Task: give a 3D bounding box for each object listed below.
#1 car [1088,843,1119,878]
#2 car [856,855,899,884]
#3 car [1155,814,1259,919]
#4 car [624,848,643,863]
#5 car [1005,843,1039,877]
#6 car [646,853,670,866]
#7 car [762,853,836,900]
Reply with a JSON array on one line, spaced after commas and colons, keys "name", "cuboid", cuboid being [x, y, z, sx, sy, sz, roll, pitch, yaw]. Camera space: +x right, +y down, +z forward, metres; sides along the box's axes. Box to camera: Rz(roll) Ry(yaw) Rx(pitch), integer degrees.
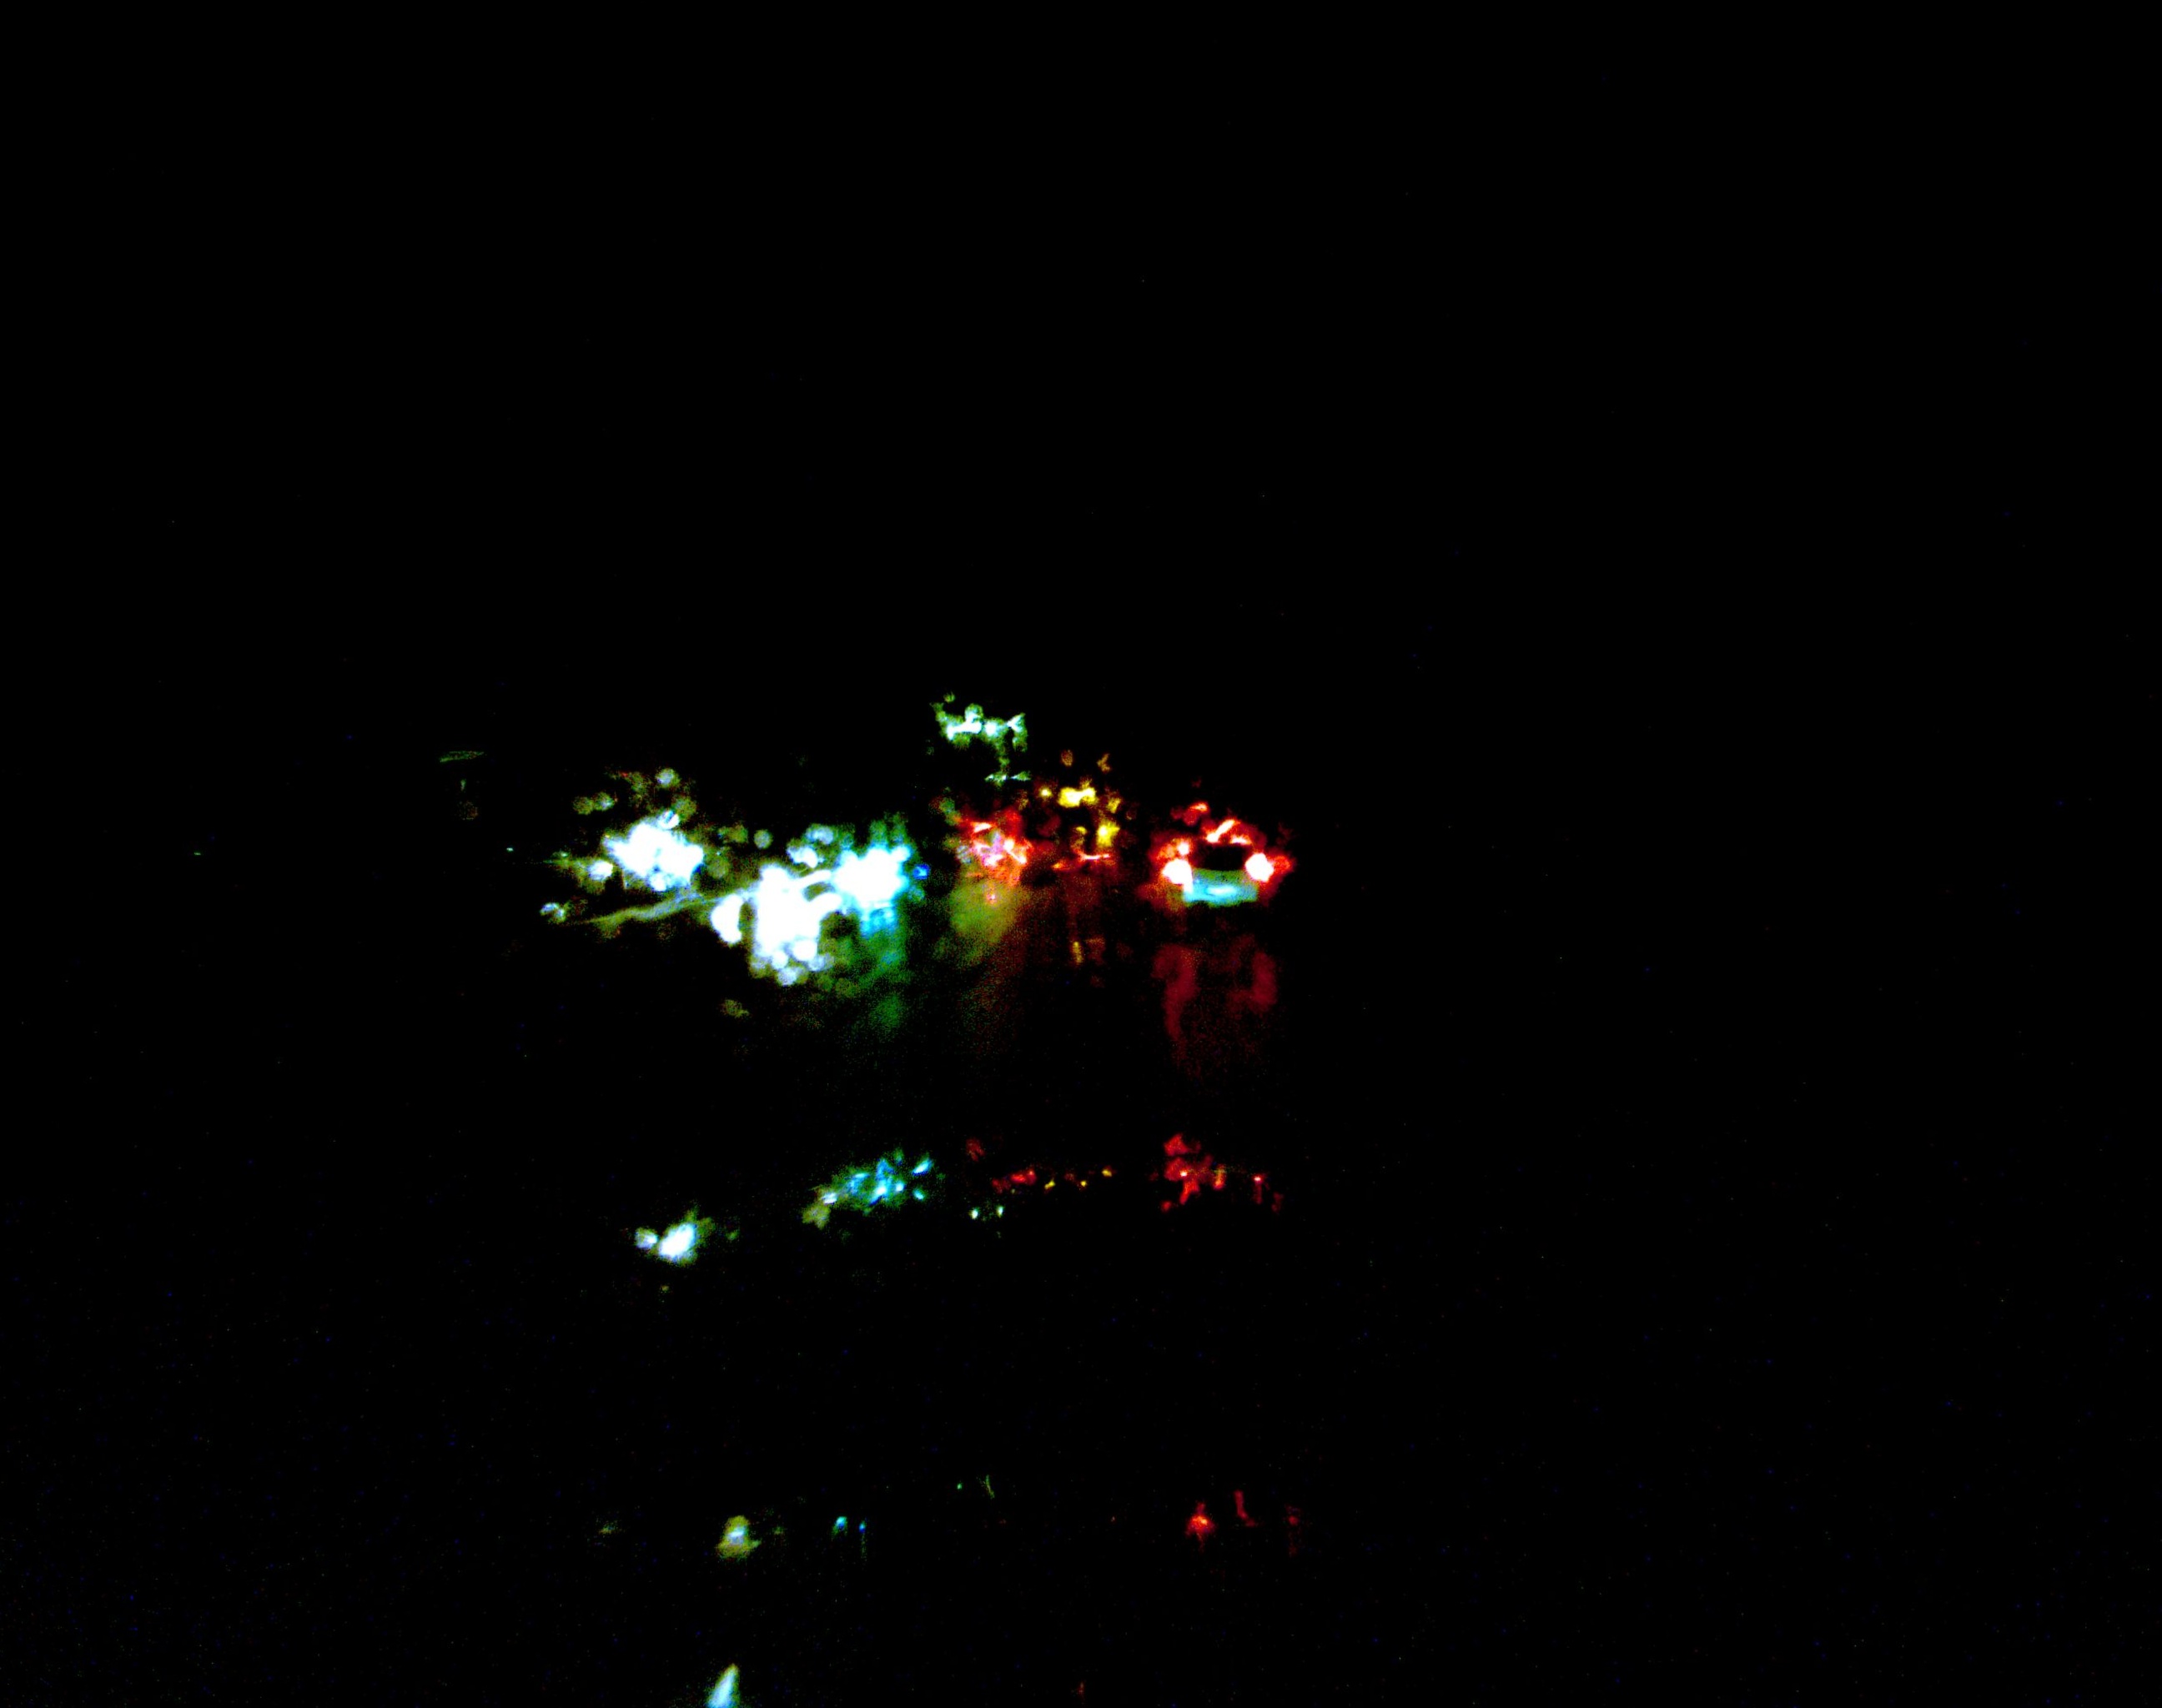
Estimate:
[{"name": "car", "cuboid": [1.343, 0.372, 50.835, 1.785, 2.022, 4.579, -1, 0, 0]}, {"name": "car", "cuboid": [-12.160, 0.870, 48.860, 1.758, 1.641, 4.644, 0, 0, -5]}, {"name": "car", "cuboid": [2.672, 0.227, 18.184, 1.784, 2.022, 4.583, -1, 0, 3]}, {"name": "car", "cuboid": [-45.773, 0.182, 83.362, 1.519, 1.518, 4.336, 1, -1, -27]}, {"name": "car", "cuboid": [-3.202, 0.291, 44.560, 1.780, 1.782, 4.430, -1, 0, -4]}, {"name": "car", "cuboid": [-49.641, 0.609, 95.658, 1.725, 1.519, 3.978, 0, 0, -16]}, {"name": "car", "cuboid": [-10.247, 0.789, 29.865, 1.801, 1.588, 4.019, 1, 0, -8]}]
